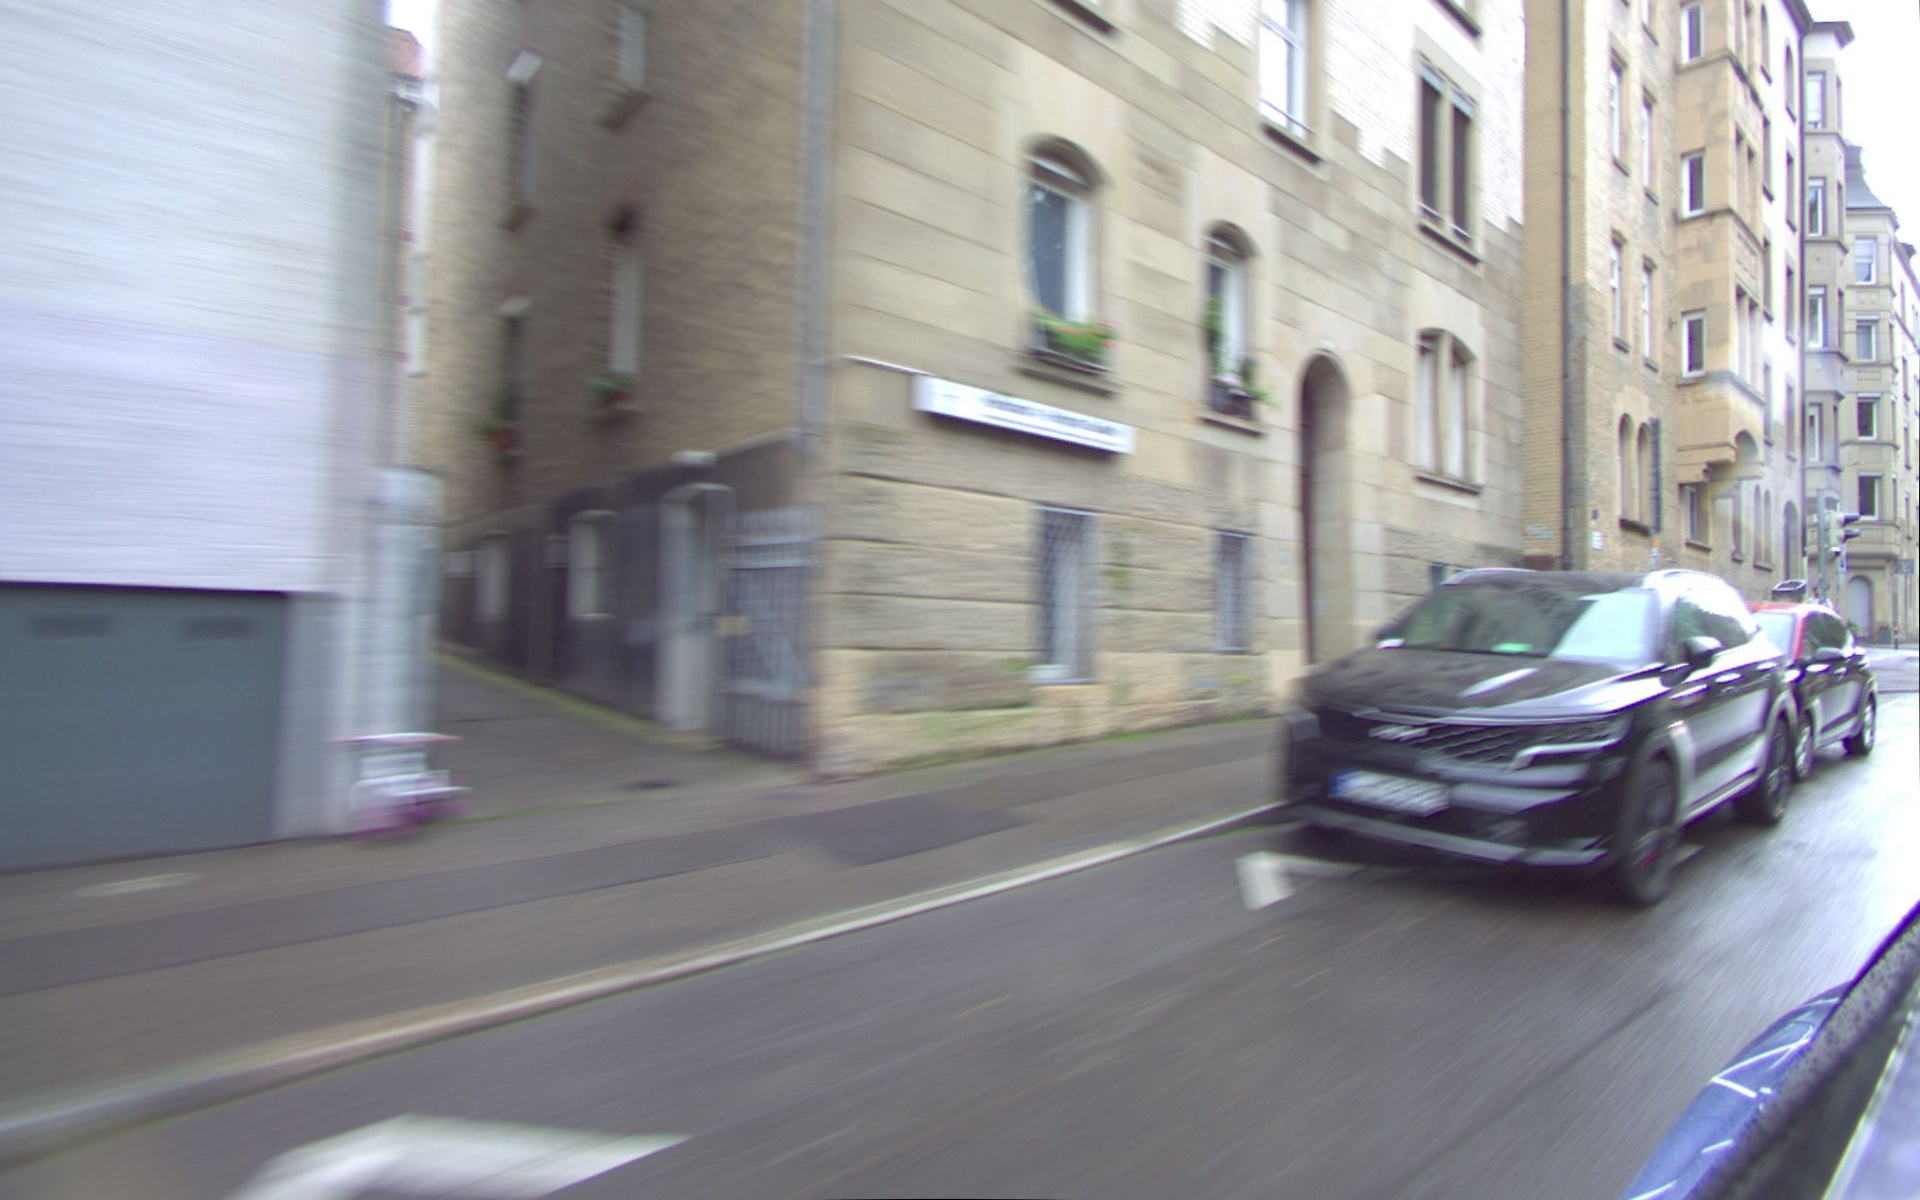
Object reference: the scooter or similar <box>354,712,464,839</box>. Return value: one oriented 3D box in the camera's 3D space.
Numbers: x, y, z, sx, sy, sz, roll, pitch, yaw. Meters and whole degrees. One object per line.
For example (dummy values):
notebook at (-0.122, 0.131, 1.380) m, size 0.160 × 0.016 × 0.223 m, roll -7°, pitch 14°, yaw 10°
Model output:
scooter or similar at (-2.912, 0.908, 5.390) m, size 0.253 × 0.513 × 0.862 m, roll 0°, pitch 0°, yaw -10°

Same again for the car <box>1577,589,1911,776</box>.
car at (7.590, 0.682, 9.718) m, size 3.542 × 1.471 × 1.666 m, roll 1°, pitch -1°, yaw -37°

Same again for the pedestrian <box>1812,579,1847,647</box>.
pedestrian at (23.226, 0.355, 27.036) m, size 0.564 × 1.774 × 0.579 m, roll 3°, pitch -1°, yaw -40°

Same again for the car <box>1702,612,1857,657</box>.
car at (32.575, 1.330, 40.323) m, size 1.746 × 1.518 × 4.508 m, roll 5°, pitch -2°, yaw -38°

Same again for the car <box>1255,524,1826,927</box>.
car at (3.924, 0.565, 6.472) m, size 4.419 × 1.730 × 1.769 m, roll 1°, pitch -1°, yaw -40°
